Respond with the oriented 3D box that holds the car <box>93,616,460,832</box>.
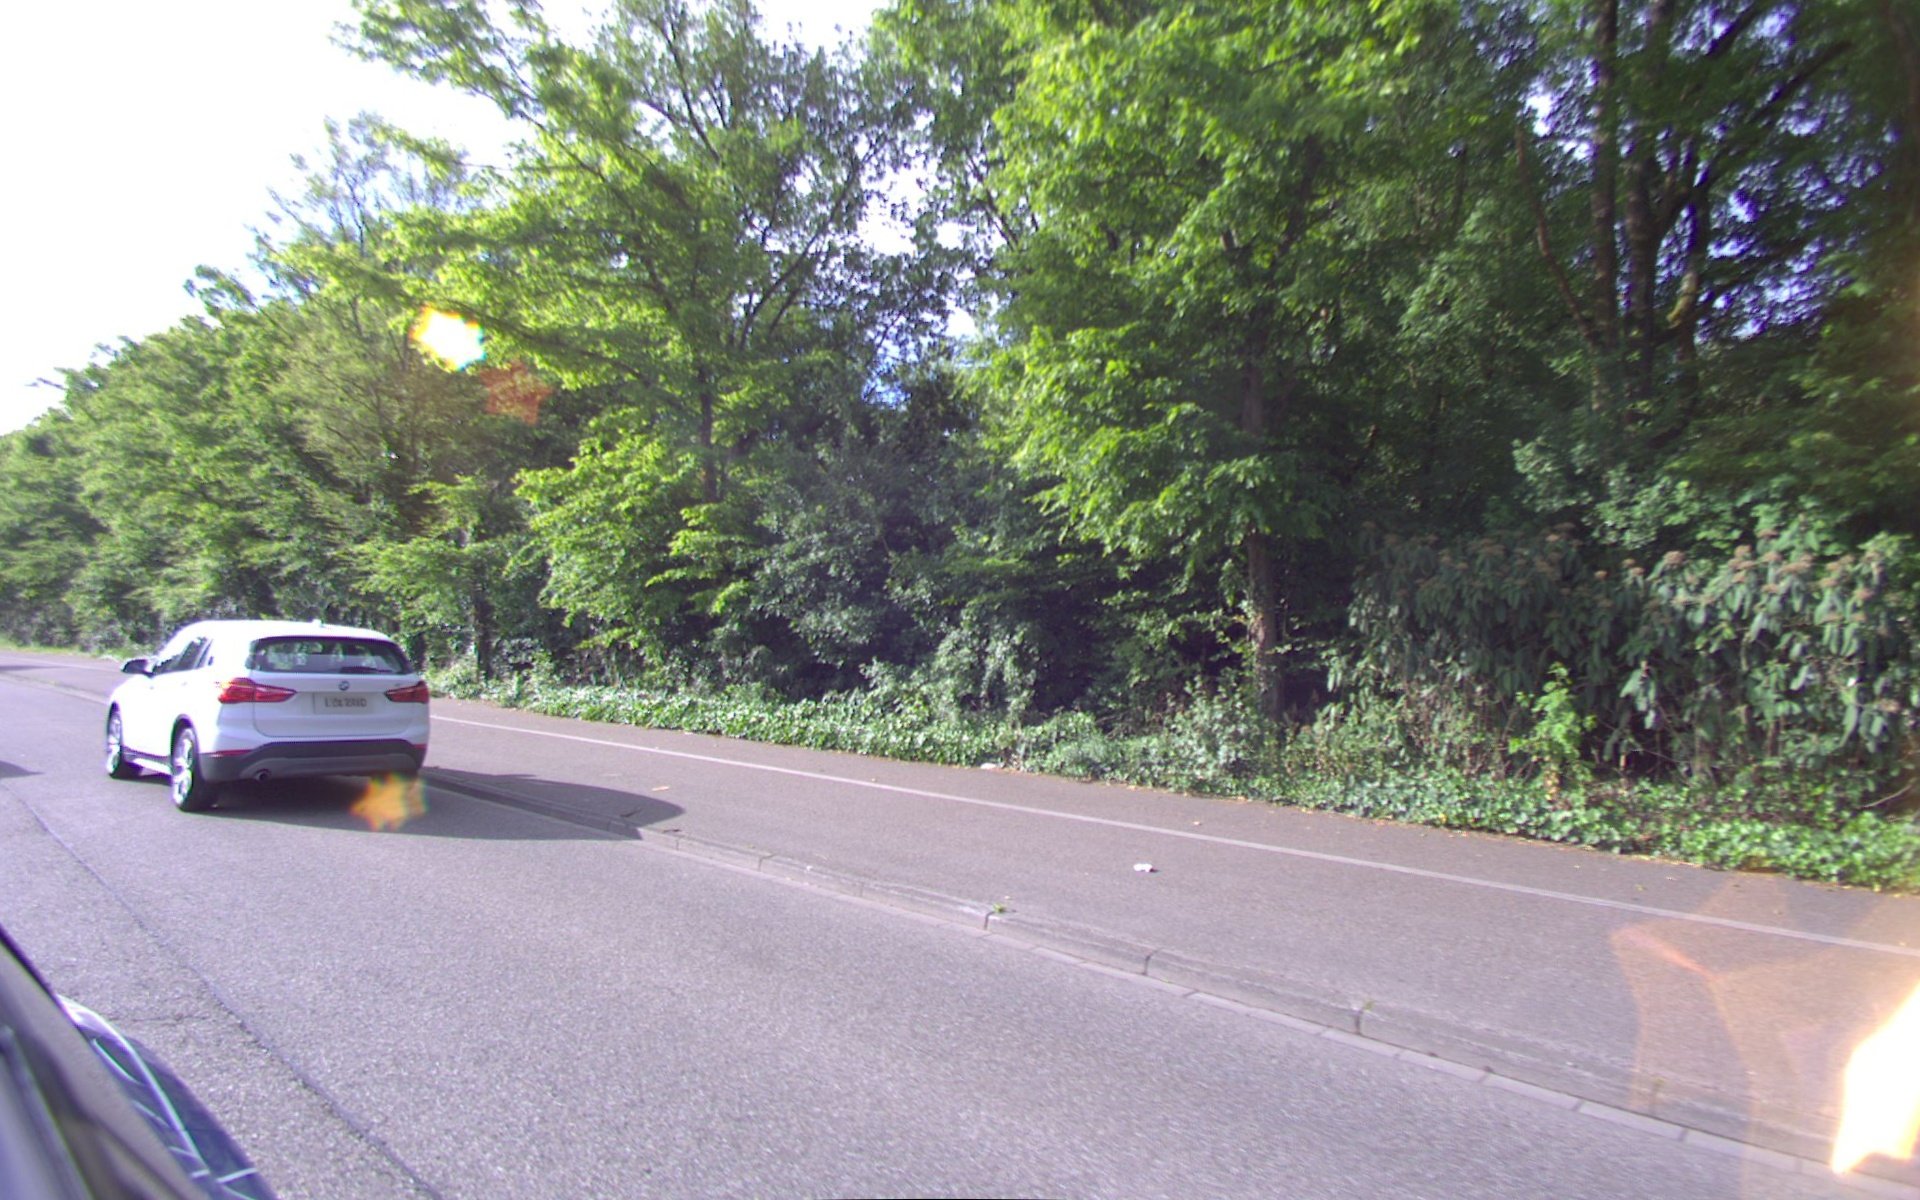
[{"bbox_3d":[-6.583,1.012,9.579,4.099,1.597,1.783,-1,-5,41],"label":"car"}]
